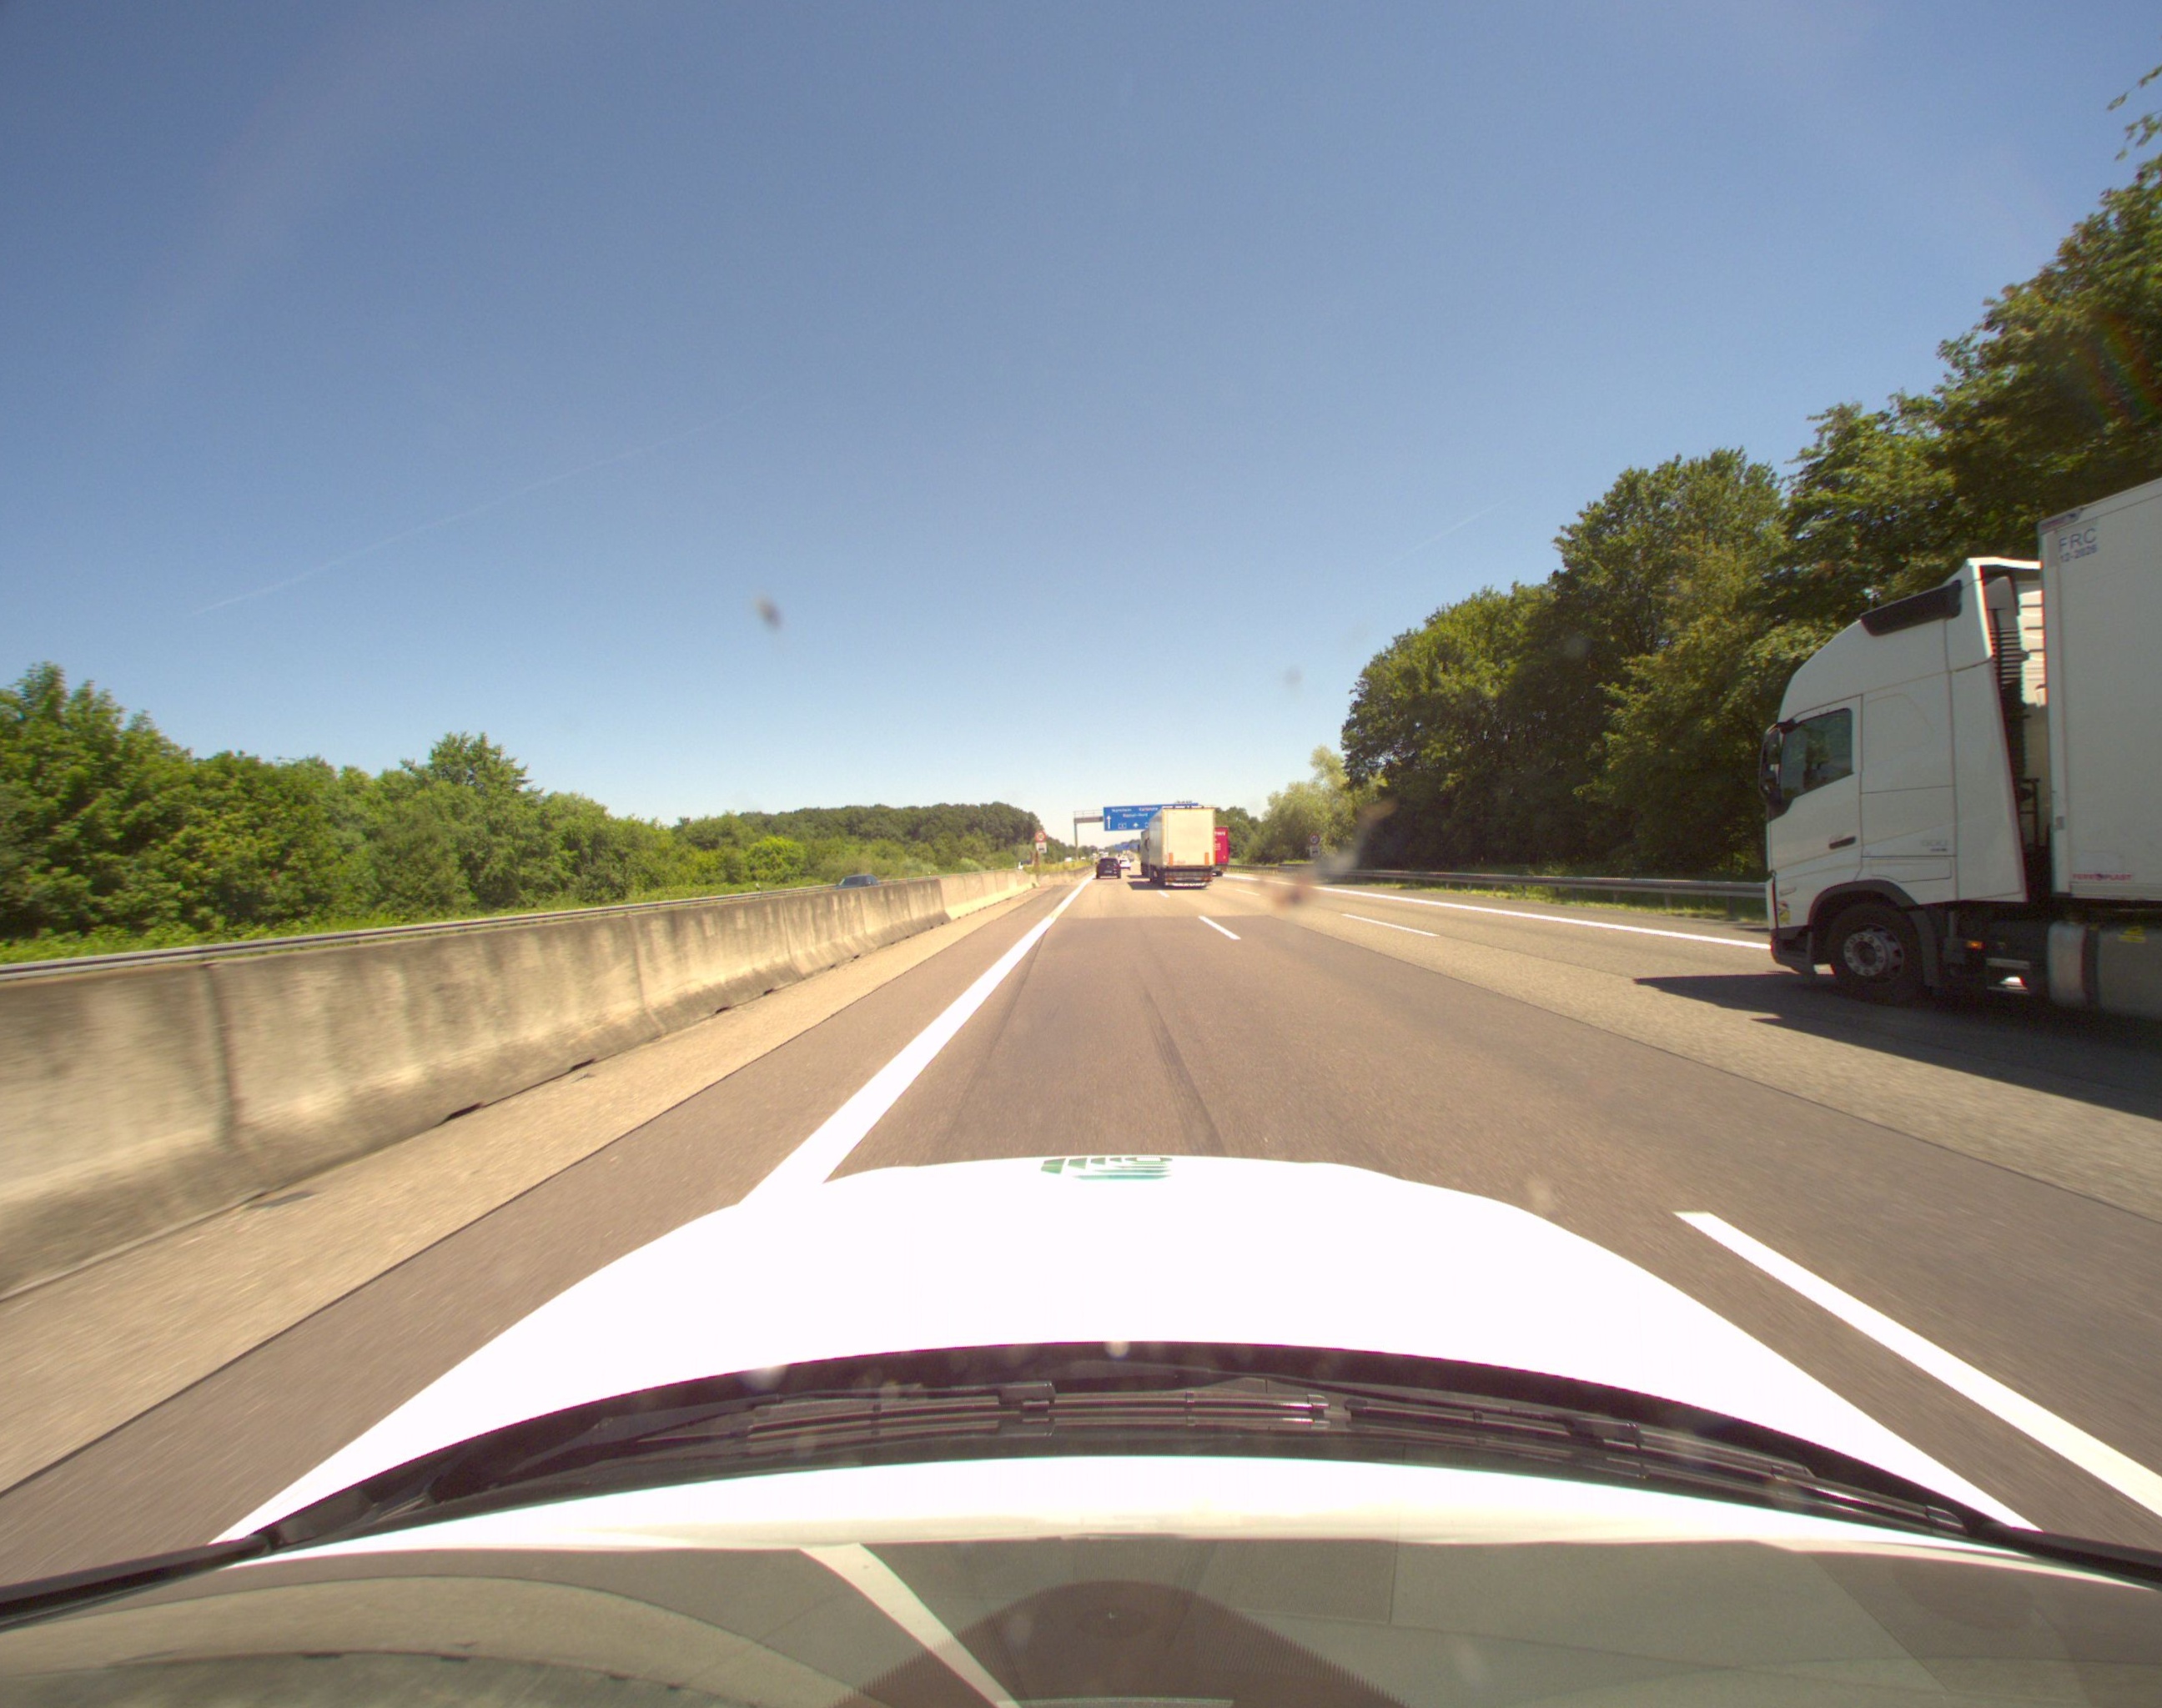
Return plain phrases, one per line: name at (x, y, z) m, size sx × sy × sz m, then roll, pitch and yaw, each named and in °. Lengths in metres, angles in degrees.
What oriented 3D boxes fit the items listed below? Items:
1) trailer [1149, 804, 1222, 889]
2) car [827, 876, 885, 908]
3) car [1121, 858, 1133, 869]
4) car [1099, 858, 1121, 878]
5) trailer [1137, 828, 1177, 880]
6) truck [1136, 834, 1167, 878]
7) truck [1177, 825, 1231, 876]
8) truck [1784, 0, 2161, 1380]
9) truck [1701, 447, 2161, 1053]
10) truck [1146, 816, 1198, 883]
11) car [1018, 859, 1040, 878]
trailer at (5.538, -0.316, 45.324) m, size 2.784 × 4.035 × 12.573 m, roll -1°, pitch 0°, yaw 2°
car at (-11.872, 1.963, 43.234) m, size 1.763 × 1.471 × 4.002 m, roll -3°, pitch -1°, yaw 2°
car at (6.438, 1.347, 114.206) m, size 1.733 × 1.486 × 4.003 m, roll -1°, pitch 0°, yaw 3°
car at (2.321, 1.084, 65.002) m, size 1.654 × 1.549 × 3.784 m, roll -2°, pitch 0°, yaw 1°
trailer at (6.457, 0.108, 70.793) m, size 2.697 × 4.068 × 14.754 m, roll -1°, pitch -1°, yaw 3°
truck at (6.869, 0.230, 80.138) m, size 2.689 × 4.094 × 6.457 m, roll -1°, pitch -1°, yaw 3°
truck at (10.781, -0.250, 72.653) m, size 3.044 × 4.106 × 13.221 m, roll -1°, pitch -1°, yaw 1°
truck at (4.332, -0.599, 0.288) m, size 2.930 × 3.986 × 6.103 m, roll -1°, pitch -1°, yaw 1°
truck at (8.761, -0.728, 4.258) m, size 3.013 × 4.092 × 10.984 m, roll -1°, pitch -1°, yaw 3°
truck at (5.795, -0.255, 52.832) m, size 2.789 × 4.007 × 6.023 m, roll -1°, pitch 0°, yaw 2°
car at (-6.246, 1.737, 98.783) m, size 1.986 × 2.013 × 6.225 m, roll -4°, pitch 0°, yaw 2°
